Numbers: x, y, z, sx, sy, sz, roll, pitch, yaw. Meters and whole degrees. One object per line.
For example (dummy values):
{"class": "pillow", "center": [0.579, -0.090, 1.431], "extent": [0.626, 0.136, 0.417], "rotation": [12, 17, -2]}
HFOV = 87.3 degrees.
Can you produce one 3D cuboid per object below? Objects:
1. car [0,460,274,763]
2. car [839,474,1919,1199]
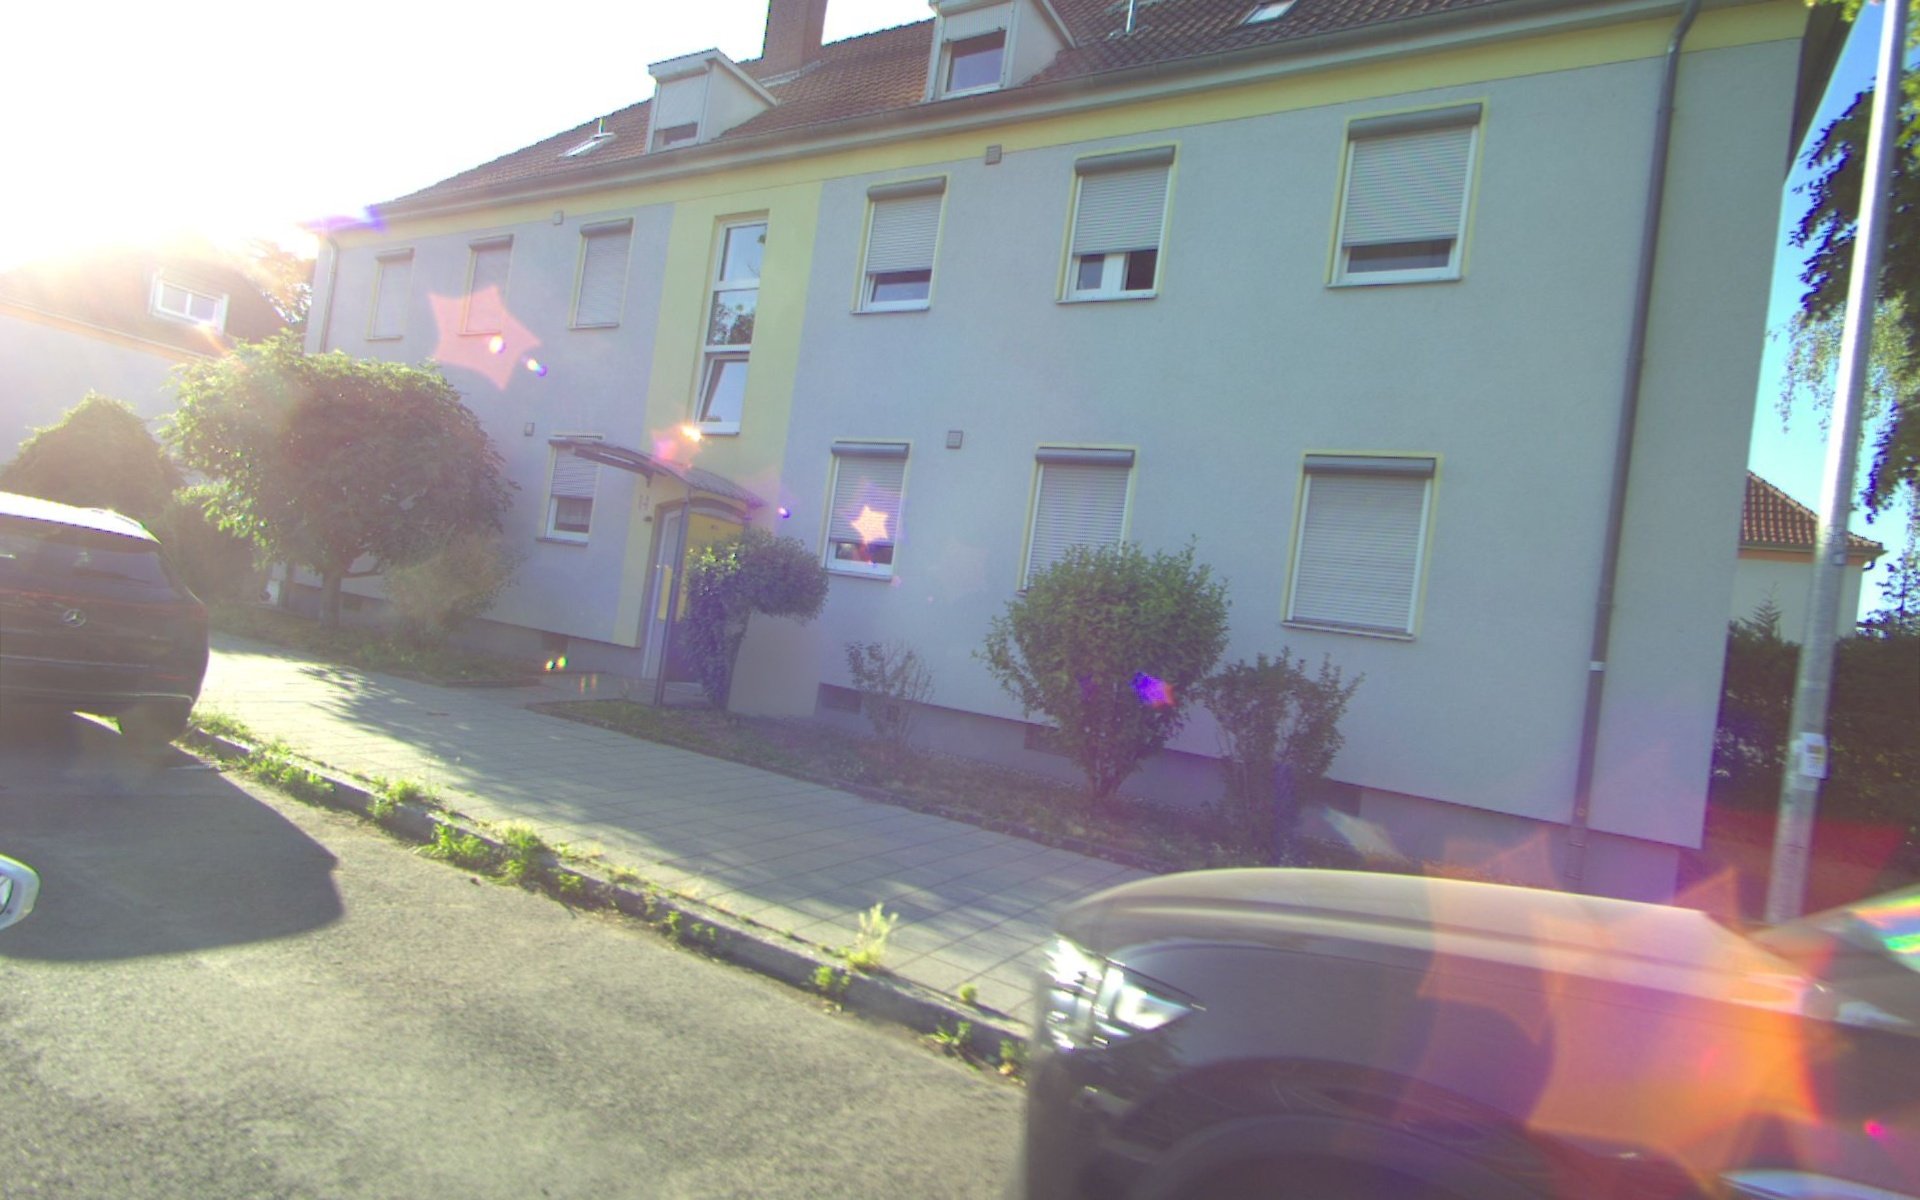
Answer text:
{"class": "car", "center": [-7.391, -0.102, 7.401], "extent": [4.544, 1.737, 1.941], "rotation": [7, -5, 31]}
{"class": "car", "center": [2.406, 0.985, 1.311], "extent": [4.948, 1.749, 1.839], "rotation": [6, -5, 31]}
